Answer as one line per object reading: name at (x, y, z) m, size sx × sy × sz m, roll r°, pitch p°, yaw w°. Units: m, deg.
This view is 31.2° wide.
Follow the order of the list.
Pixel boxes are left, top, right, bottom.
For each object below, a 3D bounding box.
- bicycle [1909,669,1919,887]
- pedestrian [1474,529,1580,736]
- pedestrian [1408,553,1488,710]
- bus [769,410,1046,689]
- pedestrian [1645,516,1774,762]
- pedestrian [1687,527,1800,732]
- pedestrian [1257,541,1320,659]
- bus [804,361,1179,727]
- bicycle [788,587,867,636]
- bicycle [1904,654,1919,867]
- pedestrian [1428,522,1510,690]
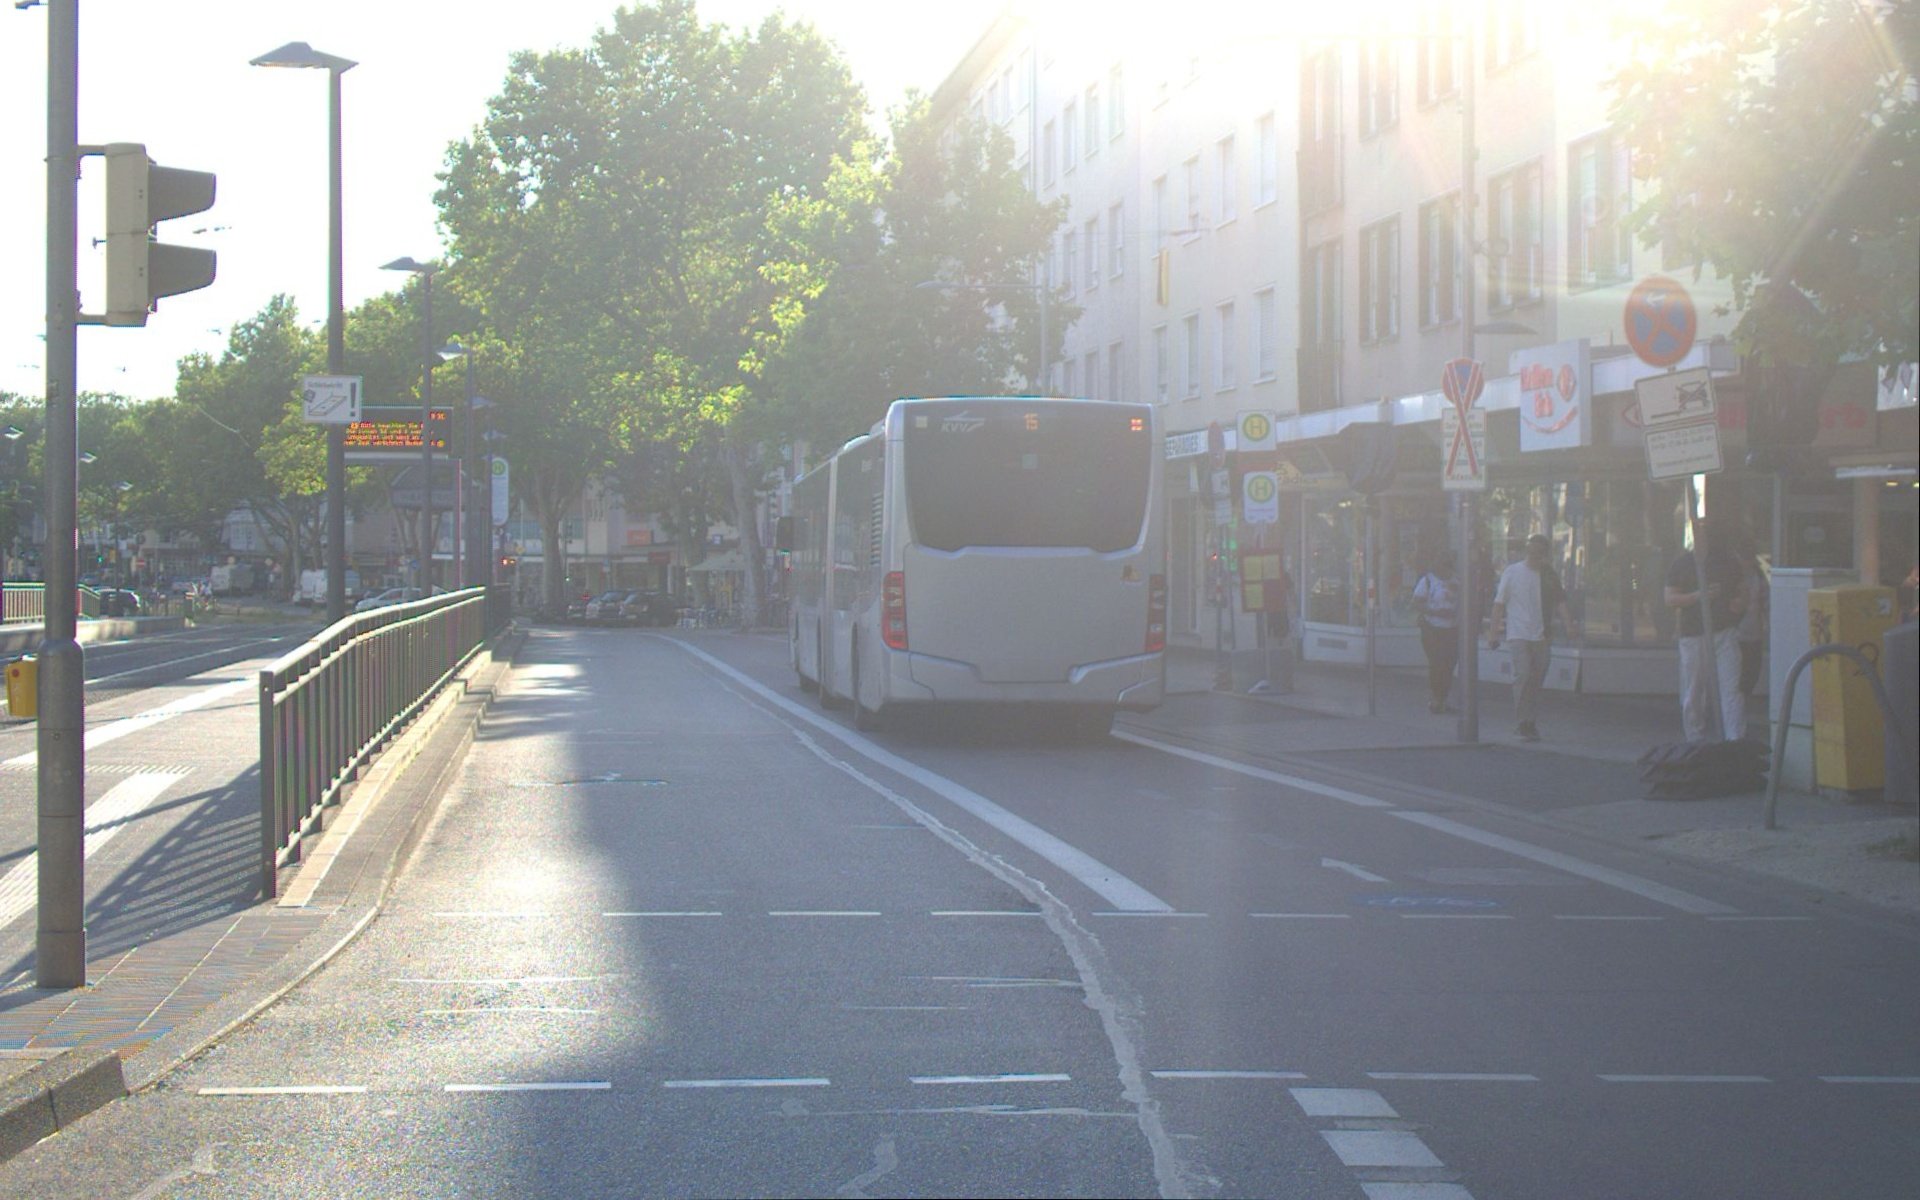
bicycle at (5.333, 0.796, 15.770) m, size 1.797 × 1.005 × 0.541 m, roll -2°, pitch 1°, yaw -9°
pedestrian at (4.911, 0.274, 29.788) m, size 0.723 × 1.773 × 0.766 m, roll 0°, pitch 0°, yaw -6°
pedestrian at (4.949, 0.312, 34.928) m, size 0.610 × 1.573 × 0.851 m, roll 0°, pitch 0°, yaw -6°
bus at (-0.843, -0.614, 43.537) m, size 2.696 × 3.107 × 9.072 m, roll 1°, pitch 0°, yaw -6°
pedestrian at (5.572, 0.283, 25.590) m, size 0.723 × 1.800 × 0.766 m, roll 0°, pitch 0°, yaw -6°
pedestrian at (6.649, 0.249, 29.213) m, size 0.723 × 1.717 × 0.766 m, roll 0°, pitch 0°, yaw -6°
pedestrian at (4.592, -0.005, 48.093) m, size 0.723 × 1.627 × 0.766 m, roll 0°, pitch 1°, yaw -6°
bus at (0.066, -0.522, 34.374) m, size 2.696 × 3.107 × 9.383 m, roll 1°, pitch 0°, yaw -6°
bicycle at (-3.280, 0.275, 85.033) m, size 1.886 × 1.073 × 0.754 m, roll -4°, pitch 1°, yaw -3°
bicycle at (5.296, 0.765, 16.366) m, size 1.482 × 1.005 × 0.454 m, roll 0°, pitch 1°, yaw -9°
pedestrian at (5.617, 0.067, 37.947) m, size 0.723 × 1.834 × 0.766 m, roll 0°, pitch 0°, yaw -6°
